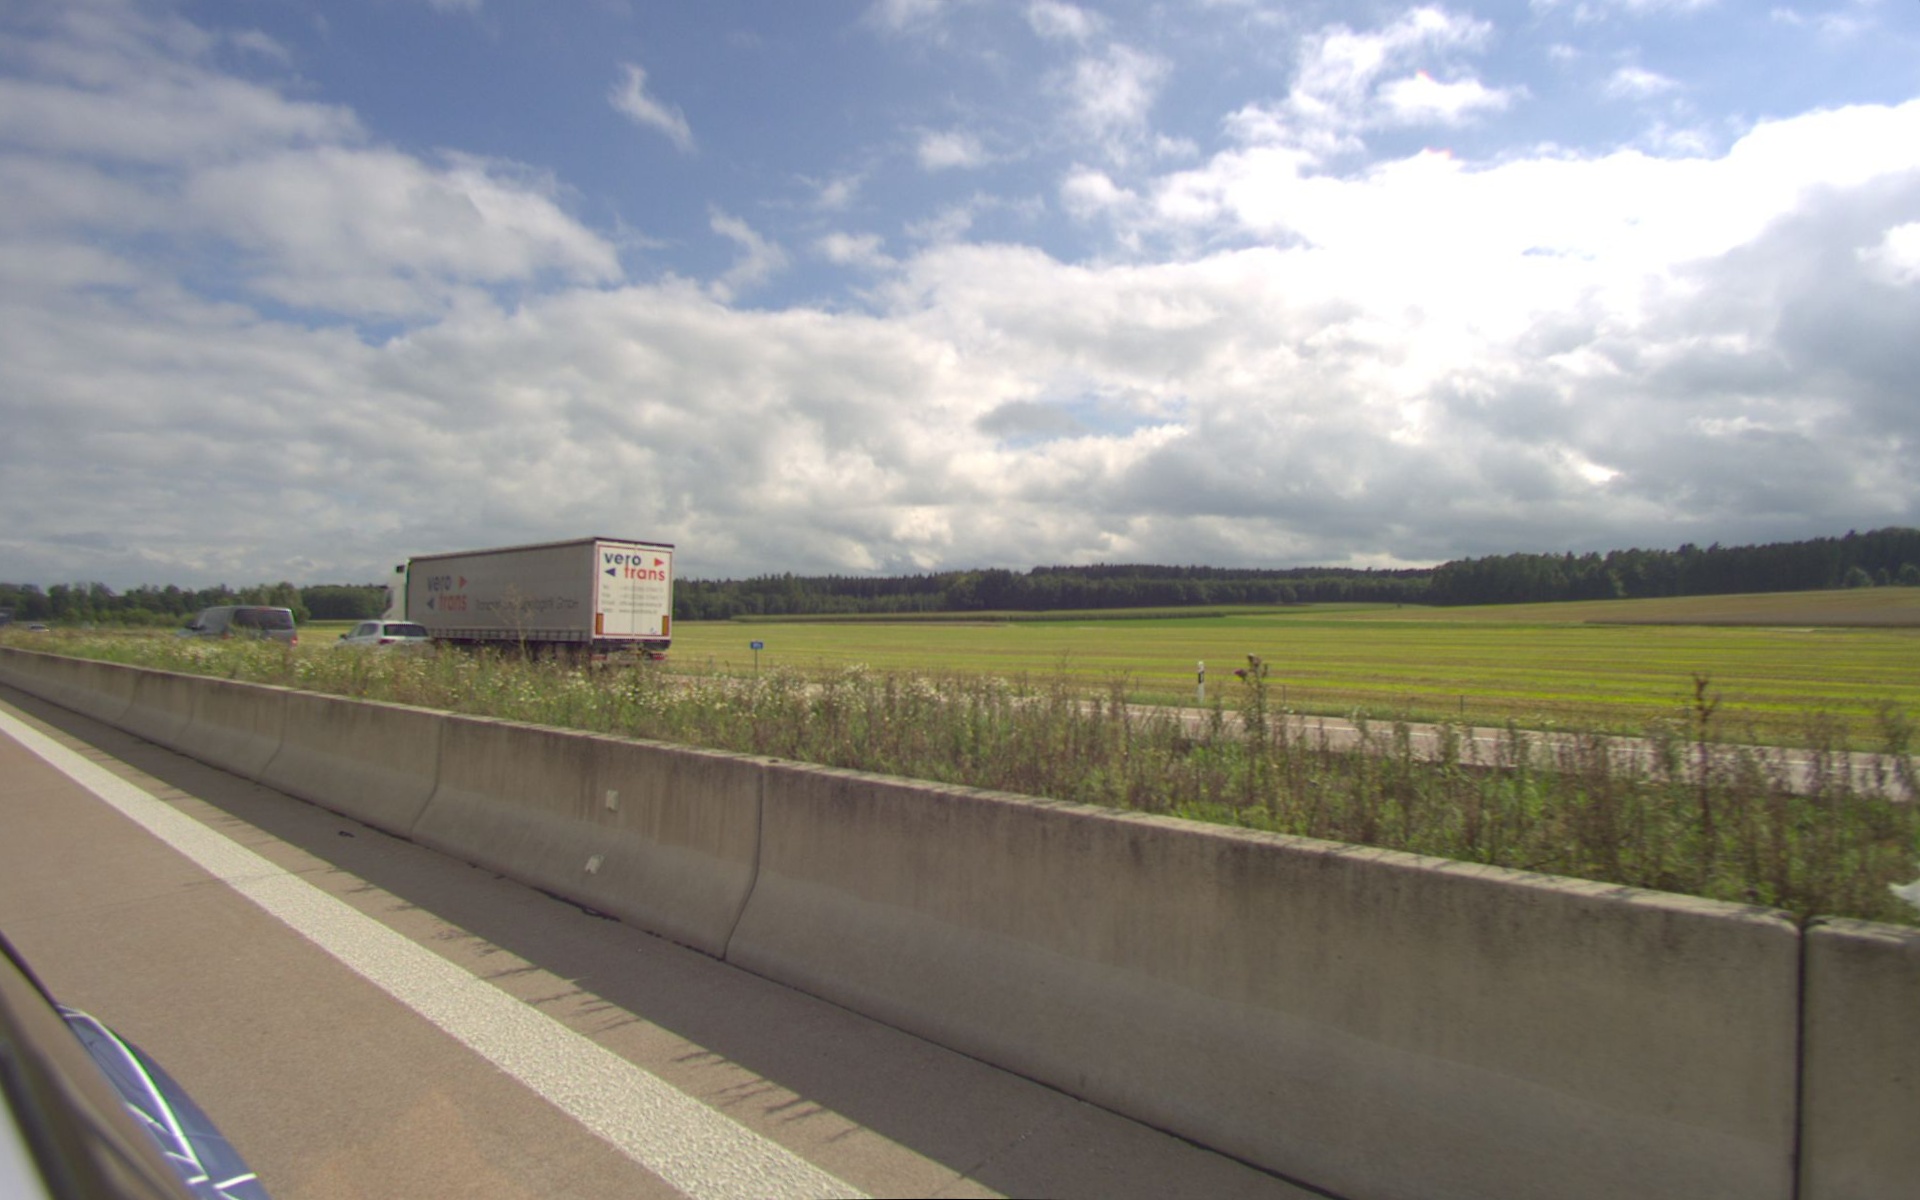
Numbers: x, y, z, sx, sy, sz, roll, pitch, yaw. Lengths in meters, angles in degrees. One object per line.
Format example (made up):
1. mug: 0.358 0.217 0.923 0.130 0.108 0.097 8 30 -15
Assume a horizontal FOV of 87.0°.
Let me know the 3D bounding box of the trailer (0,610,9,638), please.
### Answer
1. trailer: -144.240 3.625 150.535 14.324 3.989 2.741 -1 -2 41

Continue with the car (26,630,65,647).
1. car: -82.276 3.454 91.047 4.270 1.520 1.974 -1 -3 39

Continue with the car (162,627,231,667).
1. car: -36.901 2.250 48.857 4.469 1.761 1.754 -2 0 41

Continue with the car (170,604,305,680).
1. car: -21.209 1.196 29.612 5.243 2.029 1.973 -1 -3 41

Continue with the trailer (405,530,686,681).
1. trailer: -14.056 0.271 33.202 13.257 4.129 3.173 -2 0 43

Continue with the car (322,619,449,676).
1. car: -18.189 1.454 31.956 4.782 1.670 1.973 -1 -3 41

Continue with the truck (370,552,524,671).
1. truck: -19.443 0.444 38.208 6.125 4.129 3.172 -2 0 43
